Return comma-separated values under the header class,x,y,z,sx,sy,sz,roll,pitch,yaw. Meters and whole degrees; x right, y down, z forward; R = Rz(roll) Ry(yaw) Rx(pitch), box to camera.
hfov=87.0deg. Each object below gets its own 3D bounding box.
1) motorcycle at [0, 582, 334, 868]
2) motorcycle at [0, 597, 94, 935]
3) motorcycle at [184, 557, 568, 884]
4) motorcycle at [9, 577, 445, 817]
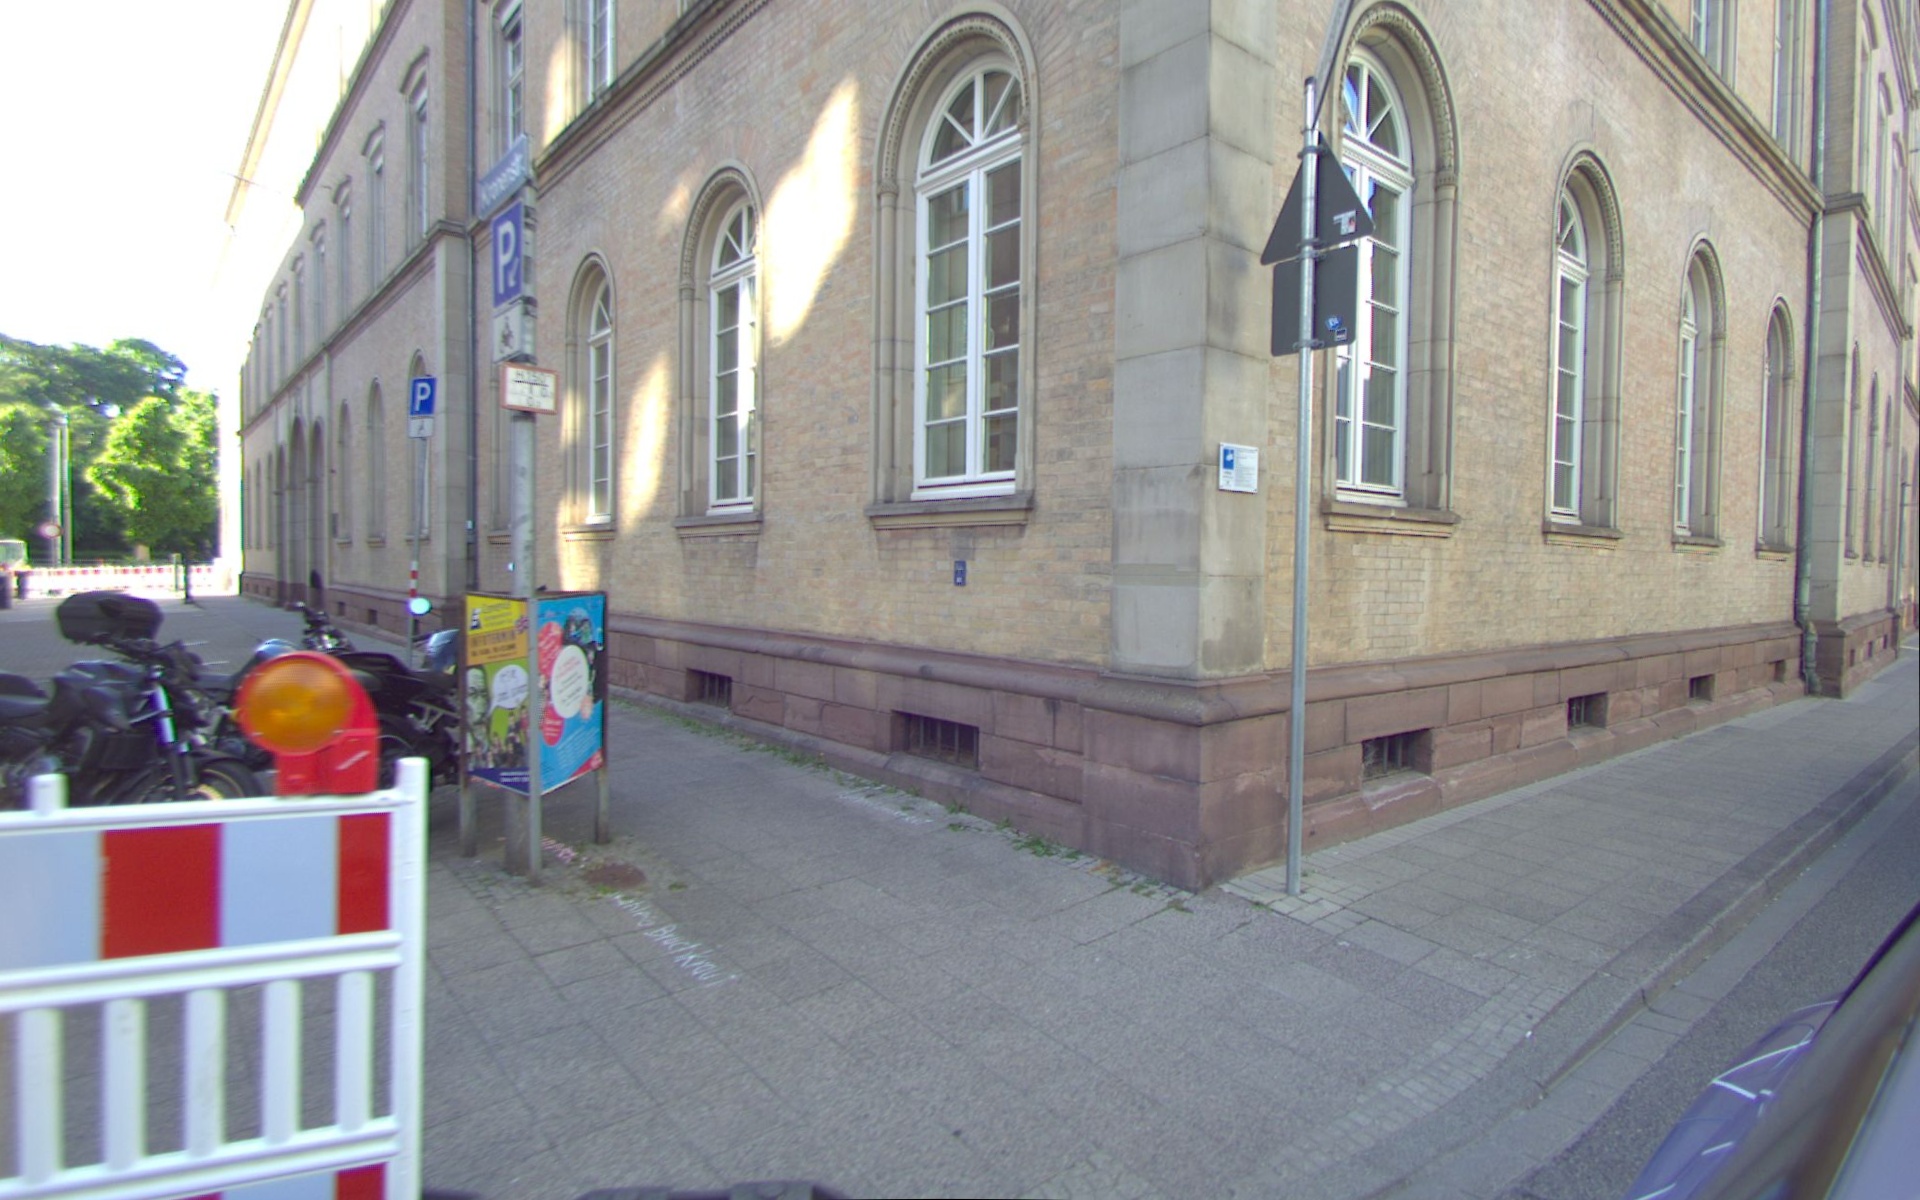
class,x,y,z,sx,sy,sz,roll,pitch,yaw
motorcycle,-4.279,0.547,4.986,1.919,1.240,0.828,1,2,4
motorcycle,-4.652,0.630,3.789,2.111,1.239,0.875,1,4,4
motorcycle,-2.858,0.463,5.292,0.694,1.349,2.079,1,3,4
motorcycle,-4.370,0.530,6.137,2.106,1.304,0.828,1,2,4
